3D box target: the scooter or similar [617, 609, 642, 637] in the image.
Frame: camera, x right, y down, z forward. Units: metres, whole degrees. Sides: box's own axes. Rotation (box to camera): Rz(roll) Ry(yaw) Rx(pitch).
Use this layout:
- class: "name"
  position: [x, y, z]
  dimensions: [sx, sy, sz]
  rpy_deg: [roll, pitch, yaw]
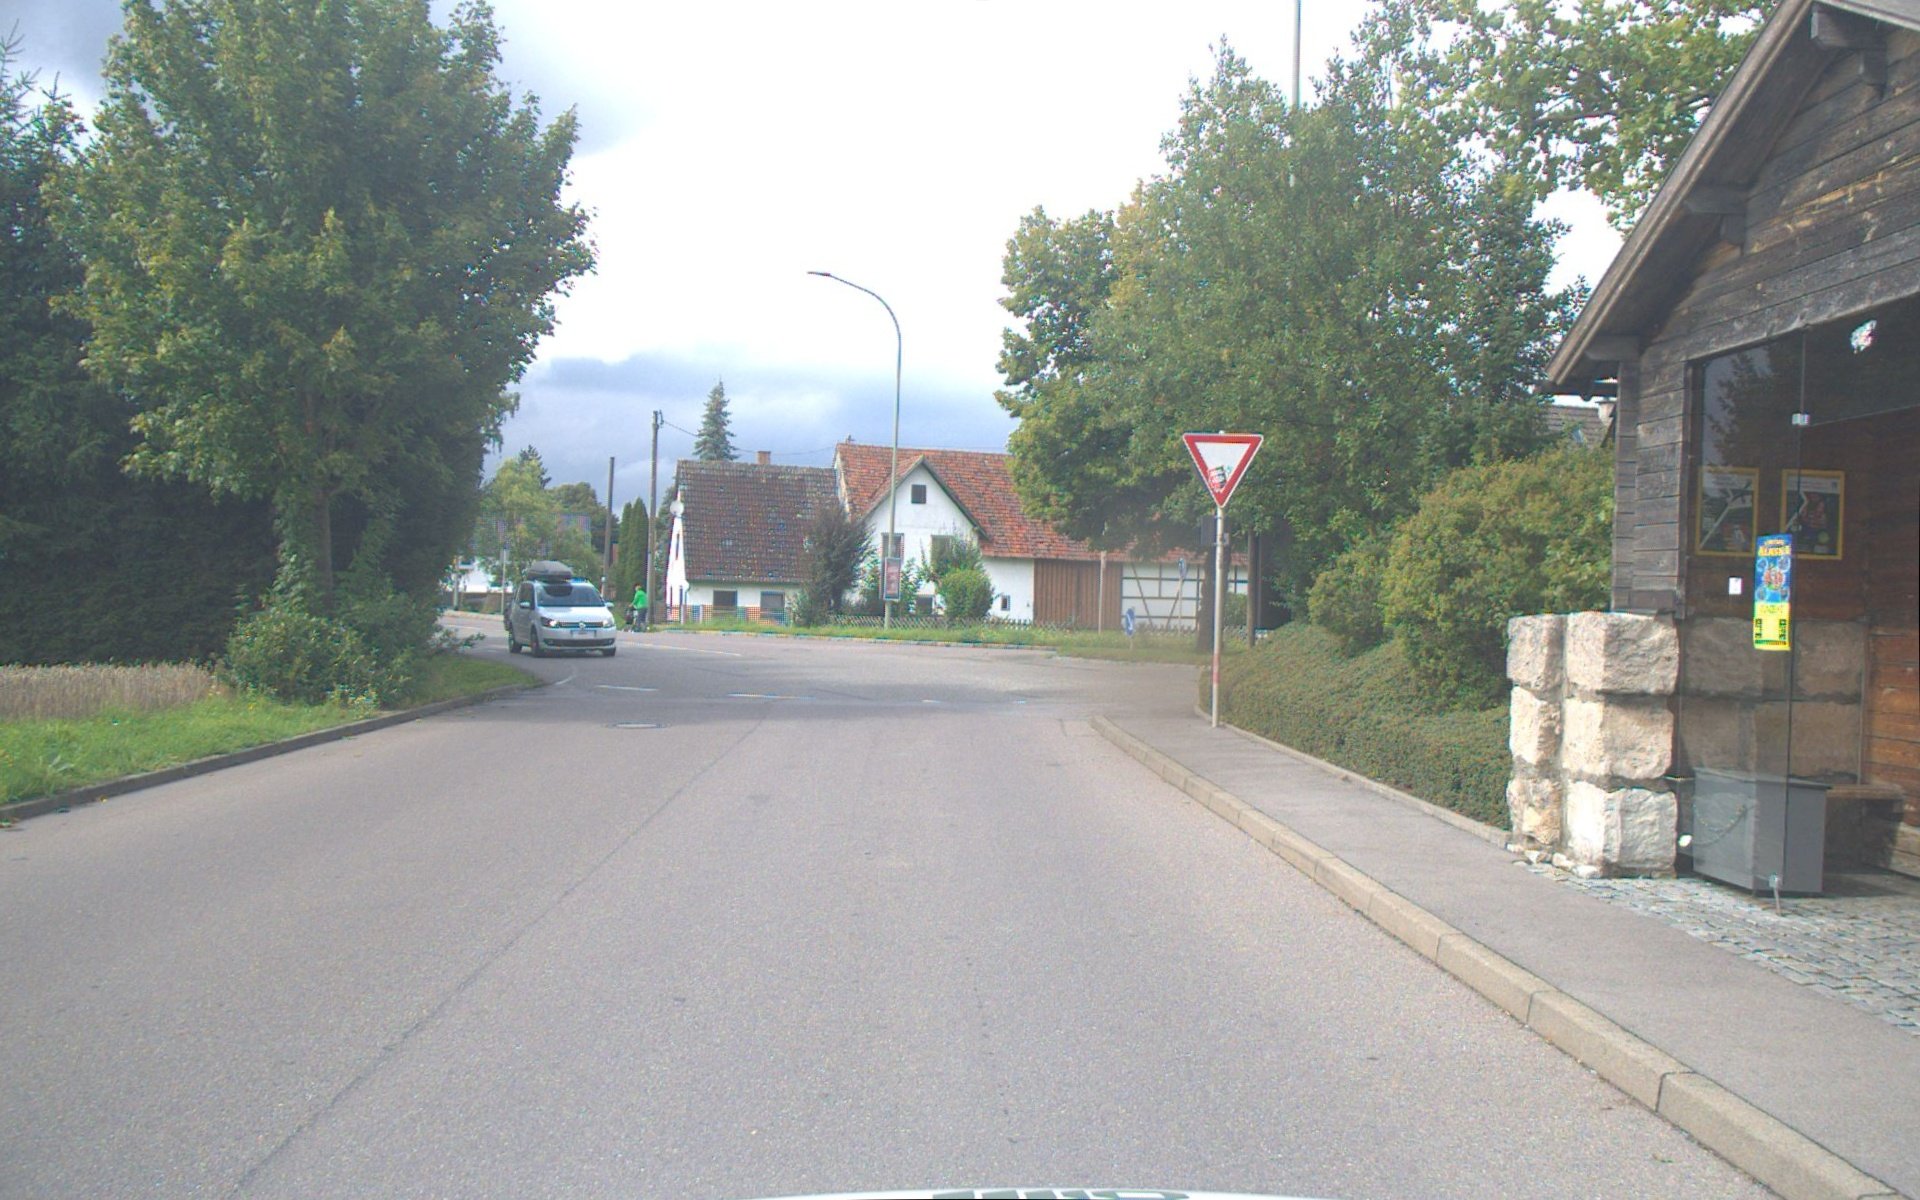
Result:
- class: "scooter or similar"
  position: [-12.040, 0.843, 60.277]
  dimensions: [0.625, 0.964, 0.615]
  rpy_deg: [7, -3, -34]

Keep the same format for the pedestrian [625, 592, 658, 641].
- class: "pedestrian"
  position: [-11.509, 0.606, 59.762]
  dimensions: [0.782, 1.694, 0.704]
  rpy_deg: [7, -3, -34]

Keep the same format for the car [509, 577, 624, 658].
- class: "car"
  position: [-8.729, 0.361, 36.468]
  dimensions: [1.678, 1.694, 3.999]
  rpy_deg: [0, 0, -26]
